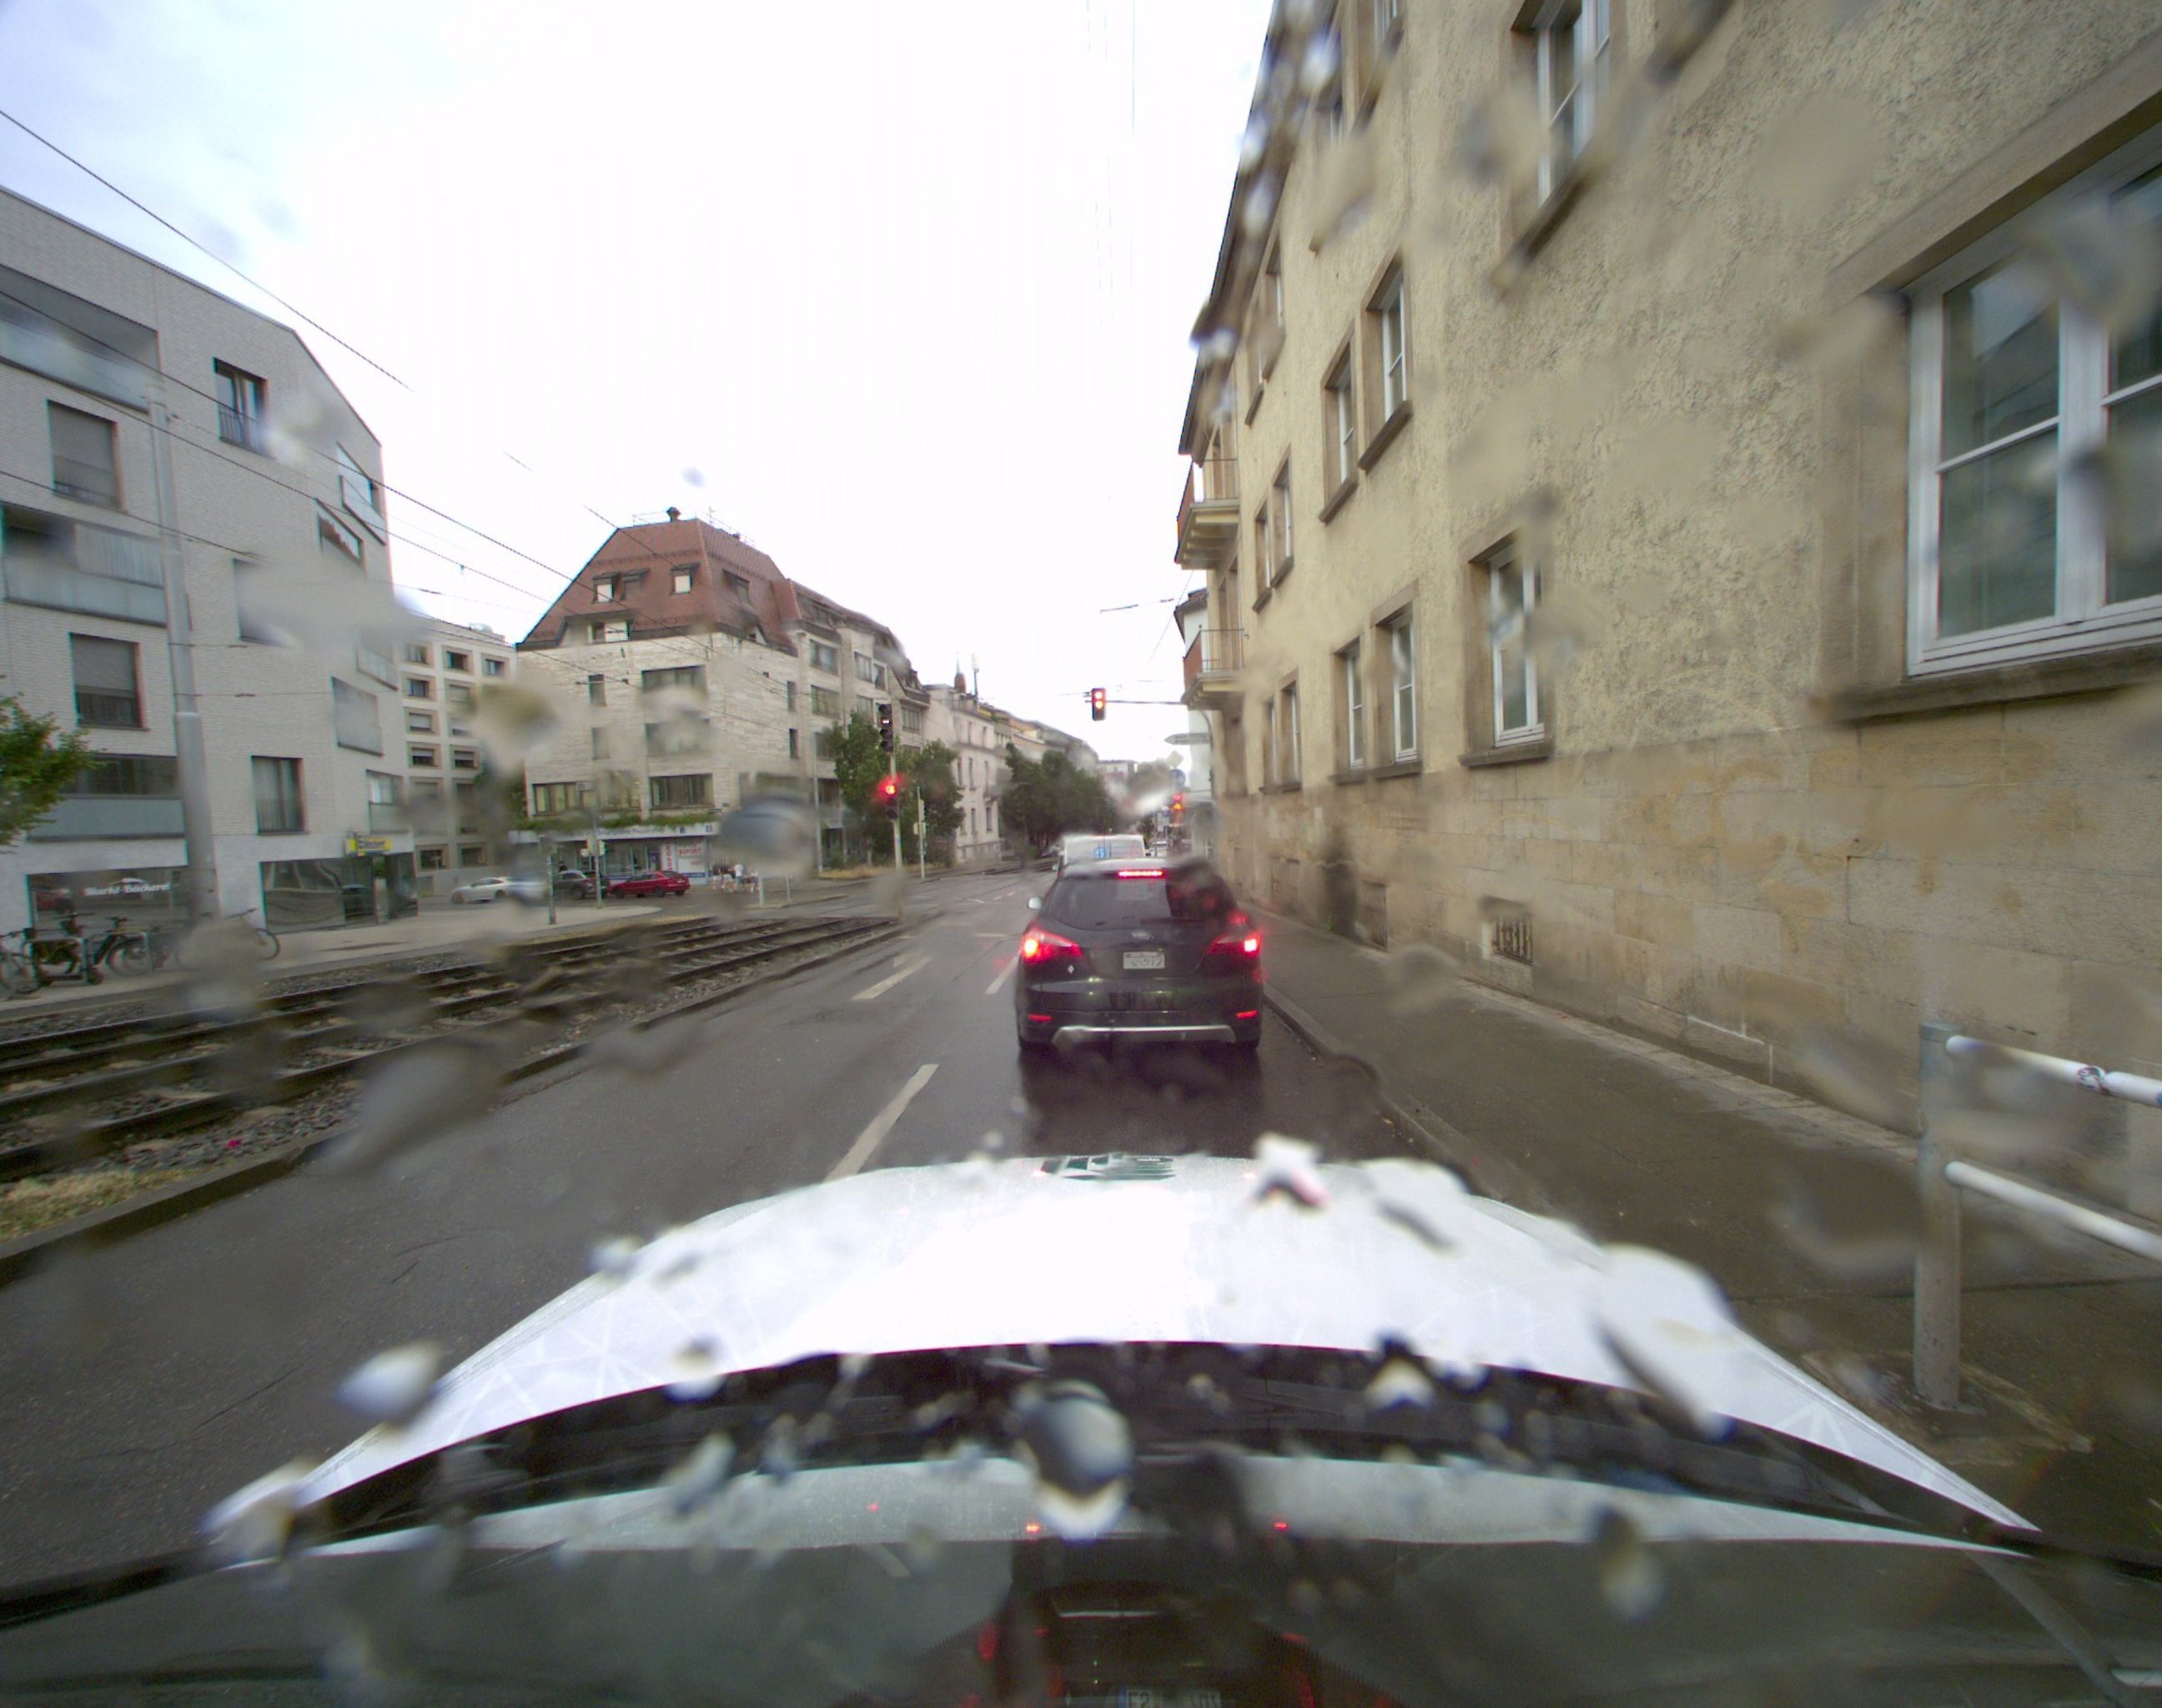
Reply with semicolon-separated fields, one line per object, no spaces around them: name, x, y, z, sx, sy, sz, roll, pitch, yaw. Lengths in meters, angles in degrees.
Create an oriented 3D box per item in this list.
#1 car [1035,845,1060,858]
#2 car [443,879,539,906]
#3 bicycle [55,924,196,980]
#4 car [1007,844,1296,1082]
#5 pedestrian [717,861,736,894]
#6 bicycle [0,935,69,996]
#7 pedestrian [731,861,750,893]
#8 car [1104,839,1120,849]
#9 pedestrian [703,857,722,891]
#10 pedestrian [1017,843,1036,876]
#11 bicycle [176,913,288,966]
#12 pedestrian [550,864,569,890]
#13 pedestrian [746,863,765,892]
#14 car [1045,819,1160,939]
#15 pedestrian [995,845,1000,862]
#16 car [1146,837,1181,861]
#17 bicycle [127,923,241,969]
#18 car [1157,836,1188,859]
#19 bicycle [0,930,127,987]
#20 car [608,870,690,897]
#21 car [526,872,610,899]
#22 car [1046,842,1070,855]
car;-3.805;-0.256;94.033;1.682;1.377;4.736;-2;-1;12
car;-32.556;2.127;44.955;4.458;1.318;1.598;-2;-1;11
bicycle;-17.929;1.823;15.313;1.787;0.917;0.385;-1;0;-16
car;0.507;0.707;7.215;1.836;1.507;4.001;-1;0;2
pedestrian;-19.121;1.259;43.974;0.643;1.749;0.686;0;-1;10
bicycle;-17.646;1.829;13.242;1.779;0.918;0.387;-2;0;-3
pedestrian;-18.280;1.225;43.699;0.643;1.724;0.686;0;-1;10
car;5.368;-1.735;139.945;1.843;1.637;4.952;-2;0;12
pedestrian;-20.273;1.091;44.836;0.643;1.842;0.686;0;-1;10
pedestrian;-3.004;0.309;45.121;0.926;1.830;0.960;0;0;4
bicycle;-17.950;1.802;17.238;1.779;0.980;0.440;-2;0;-3
pedestrian;-30.956;1.375;48.368;0.677;1.549;0.651;0;-1;10
pedestrian;-17.418;1.238;43.599;0.643;1.549;0.686;0;-1;10
car;0.416;0.447;16.493;1.981;2.060;4.645;-1;0;1
pedestrian;-8.295;-0.081;80.921;0.466;1.652;0.582;0;-1;0
car;5.695;-0.324;55.913;1.789;1.455;4.602;-3;0;12
bicycle;-17.655;1.807;16.046;1.778;0.876;0.387;0;-1;-1
car;7.078;-0.509;62.736;1.833;1.632;4.602;-2;0;12
bicycle;-17.776;1.798;14.126;1.782;0.918;0.386;0;-1;-8
car;-22.935;1.554;43.242;3.667;1.318;1.600;-2;-1;14
car;-27.761;1.713;44.112;3.670;1.318;1.599;-2;-1;11
car;-2.802;-0.648;99.937;1.843;1.548;4.736;-2;0;12
